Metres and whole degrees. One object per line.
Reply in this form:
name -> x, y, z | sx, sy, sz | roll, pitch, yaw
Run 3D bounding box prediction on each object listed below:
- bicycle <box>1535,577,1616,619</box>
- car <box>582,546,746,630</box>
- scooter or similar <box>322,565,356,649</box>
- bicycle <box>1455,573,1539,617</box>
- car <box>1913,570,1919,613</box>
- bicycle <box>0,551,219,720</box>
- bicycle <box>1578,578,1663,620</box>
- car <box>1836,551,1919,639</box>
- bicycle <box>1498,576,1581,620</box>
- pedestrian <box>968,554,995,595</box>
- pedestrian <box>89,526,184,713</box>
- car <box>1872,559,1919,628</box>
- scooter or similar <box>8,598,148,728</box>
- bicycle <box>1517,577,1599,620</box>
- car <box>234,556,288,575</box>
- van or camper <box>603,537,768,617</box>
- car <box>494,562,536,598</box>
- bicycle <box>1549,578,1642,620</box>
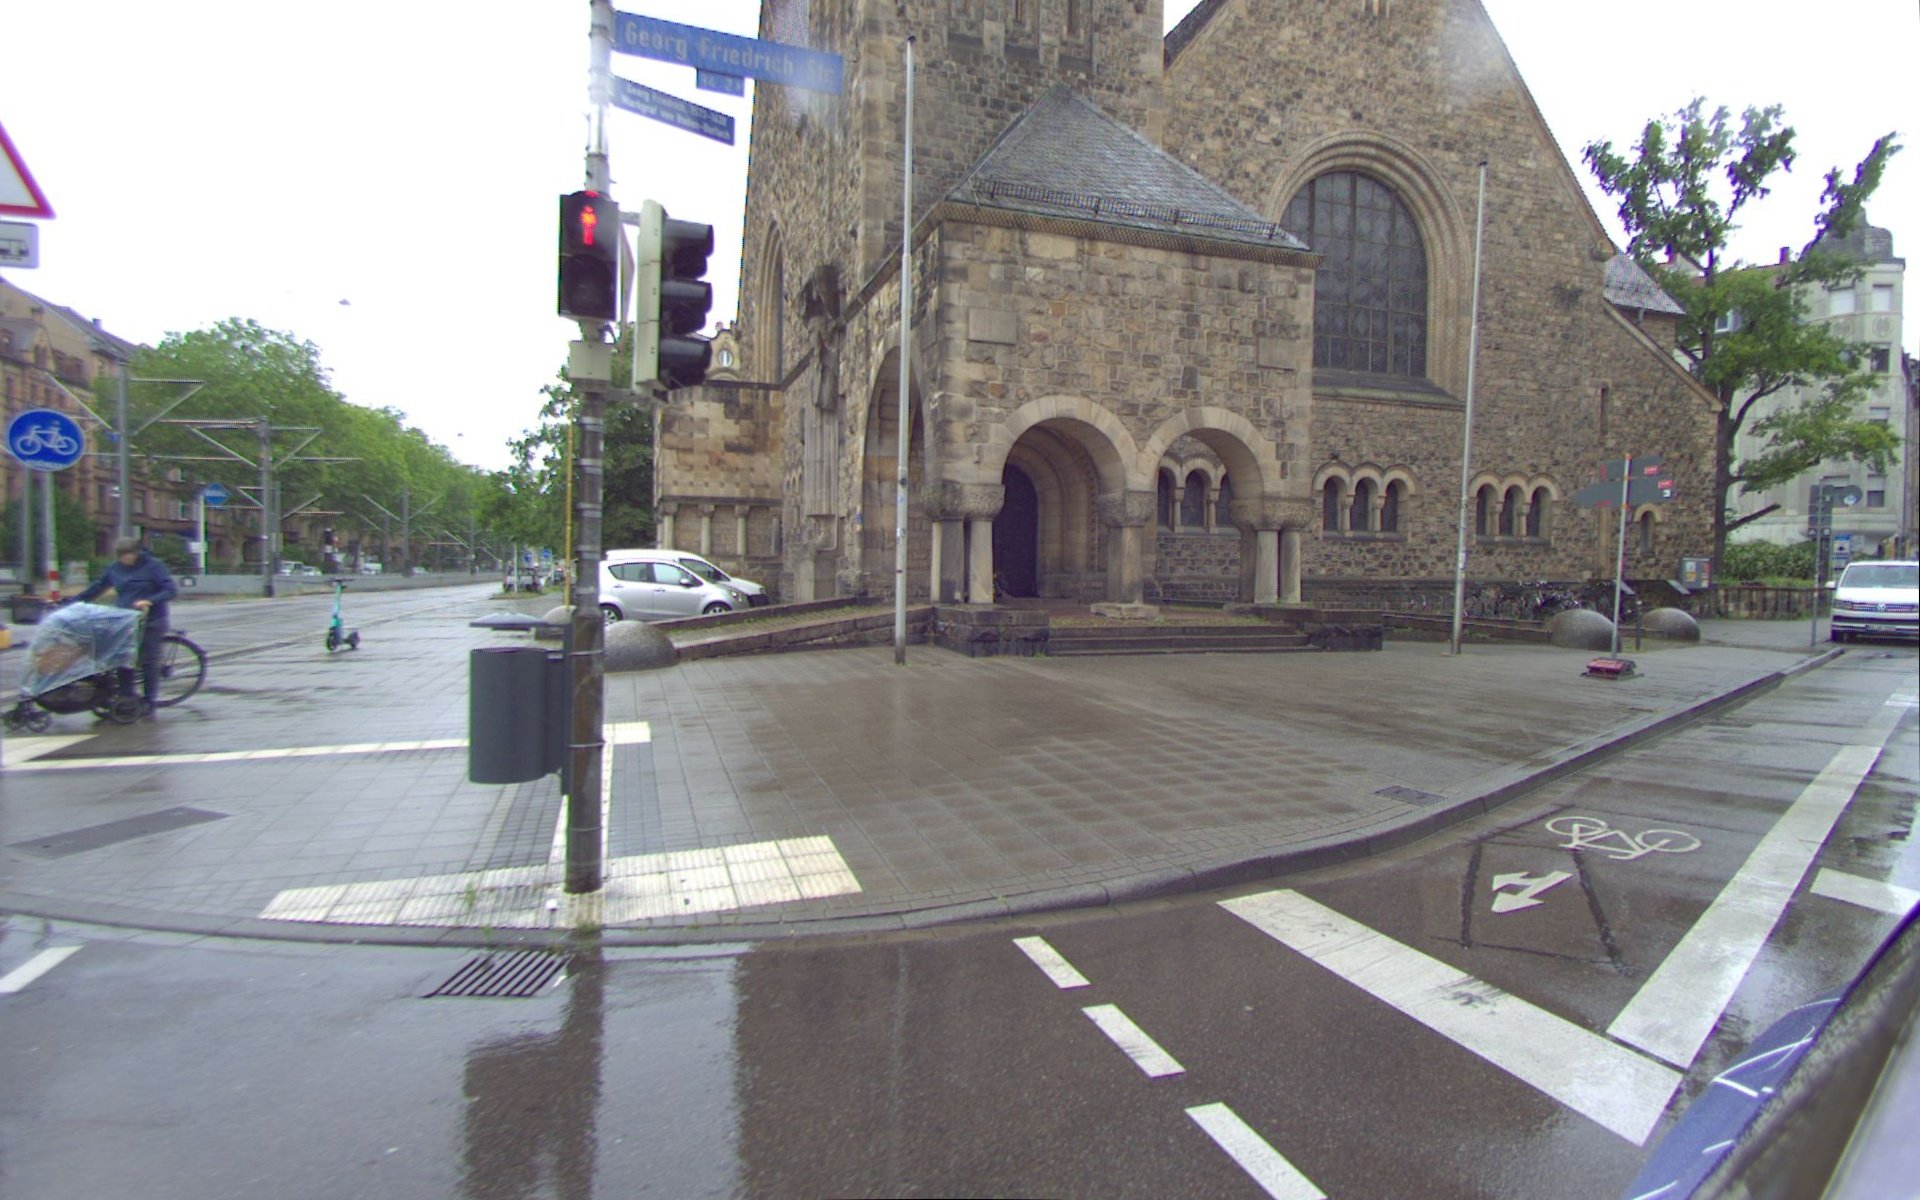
bicycle -> 16.816, -0.071, 27.706 | 0.569, 1.073, 1.933 | 0, 2, -21
car -> -6.532, -0.301, 22.455 | 3.289, 1.593, 1.740 | -4, 3, -17
scooter or similar -> -10.790, 0.098, 17.597 | 0.280, 1.404, 1.106 | 0, 1, -20
bicycle -> 14.217, -0.155, 26.860 | 0.565, 1.062, 2.013 | 0, 2, -26
car -> 37.163, -0.321, 38.044 | 3.853, 1.568, 1.672 | -1, 3, -43
bicycle -> -8.250, 0.296, 9.598 | 0.530, 1.484, 1.914 | 2, 2, 37
bicycle -> 18.331, -0.038, 28.134 | 0.593, 1.079, 1.987 | 0, 2, -21
car -> 22.893, -0.162, 24.580 | 5.184, 1.946, 1.906 | -1, 3, -43
bicycle -> 15.516, -0.076, 27.144 | 0.569, 1.073, 1.932 | 0, 2, -24
pedestrian -> 0.469, -0.552, 22.140 | 0.447, 0.895, 0.397 | 0, 1, -20
pedestrian -> -7.759, 0.162, 9.551 | 0.677, 1.684, 0.604 | 0, 1, -40
car -> 27.572, -0.211, 28.945 | 4.224, 1.868, 1.835 | -1, 3, -43
scooter or similar -> -7.705, 0.522, 8.874 | 0.908, 1.061, 0.514 | 0, 2, -41
bicycle -> 16.163, -0.063, 27.408 | 0.569, 1.073, 1.933 | 0, 2, -21
car -> -62.919, -3.098, 91.154 | 3.758, 1.644, 1.772 | -1, 2, -44
van or camper -> -7.007, -0.631, 25.799 | 3.848, 1.748, 1.653 | -4, 3, -19
car -> -23.499, -1.101, 53.551 | 1.939, 1.816, 4.009 | 0, 2, -22
bicycle -> 17.512, -0.053, 27.952 | 0.664, 1.073, 2.161 | 0, 2, -21
